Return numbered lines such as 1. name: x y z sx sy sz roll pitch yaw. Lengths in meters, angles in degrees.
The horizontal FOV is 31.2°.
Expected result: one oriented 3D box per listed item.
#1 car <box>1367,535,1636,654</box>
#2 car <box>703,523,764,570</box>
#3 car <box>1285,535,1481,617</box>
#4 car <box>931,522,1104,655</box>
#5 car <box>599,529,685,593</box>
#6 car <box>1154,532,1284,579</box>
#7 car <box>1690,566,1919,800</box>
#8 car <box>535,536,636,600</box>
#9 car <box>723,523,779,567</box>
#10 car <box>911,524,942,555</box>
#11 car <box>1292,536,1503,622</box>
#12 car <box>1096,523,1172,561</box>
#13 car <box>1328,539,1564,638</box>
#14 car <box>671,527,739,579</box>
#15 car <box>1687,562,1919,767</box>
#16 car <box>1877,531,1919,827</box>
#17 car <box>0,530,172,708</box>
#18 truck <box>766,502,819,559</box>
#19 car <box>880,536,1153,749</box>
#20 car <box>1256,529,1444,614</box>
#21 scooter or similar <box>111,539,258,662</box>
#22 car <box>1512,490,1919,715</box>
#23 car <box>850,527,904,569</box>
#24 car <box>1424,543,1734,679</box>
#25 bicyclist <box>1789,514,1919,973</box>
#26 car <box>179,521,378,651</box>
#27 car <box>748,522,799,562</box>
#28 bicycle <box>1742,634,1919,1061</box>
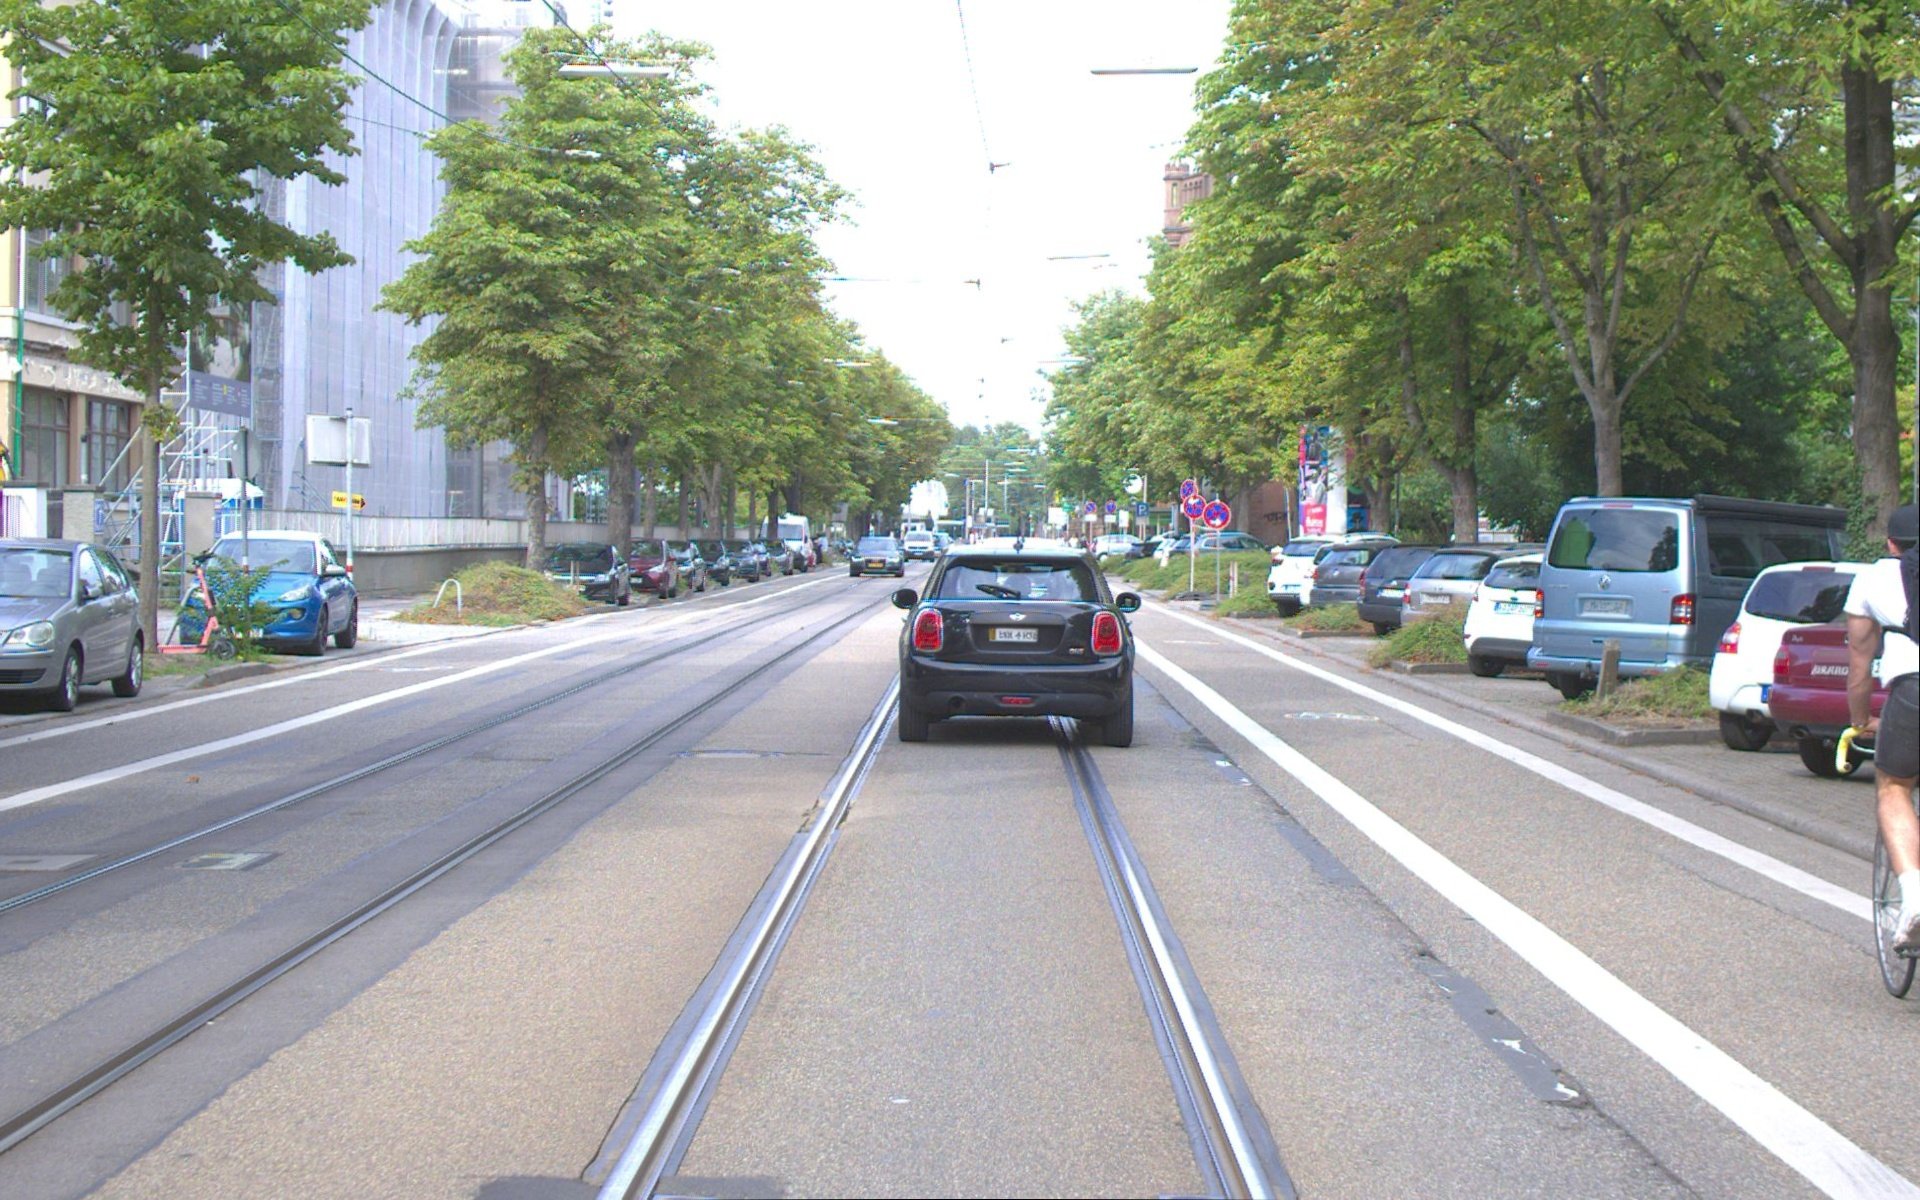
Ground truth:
1. car: 7.333 -0.071 46.397 3.729 1.517 1.639 1 1 -44
2. car: -7.661 -1.818 116.501 1.802 1.578 4.031 0 1 0
3. car: 7.761 -0.435 62.951 3.437 1.437 1.560 0 1 -38
4. car: 0.654 -0.173 42.088 1.793 1.465 4.001 3 1 -3
5. car: -8.004 -1.007 86.749 1.802 1.578 4.031 0 1 0
6. car: 8.402 -1.450 111.697 3.986 1.420 1.885 1 1 -2
7. car: 6.884 0.527 23.432 3.964 1.428 1.689 1 1 -42
8. car: -8.263 -0.728 76.205 1.802 1.369 4.031 0 1 0
9. car: -7.620 -2.032 125.539 1.802 1.578 4.031 0 1 0
10. car: -1.961 -3.558 201.363 1.802 1.817 4.485 0 1 0
11. car: 7.644 -0.363 59.944 3.525 1.437 1.623 0 1 -38
12. car: 9.545 -3.198 188.894 3.986 1.904 2.000 2 1 -2
13. car: 7.521 -0.172 53.024 3.729 1.453 1.639 1 1 -44
14. car: -7.874 -1.456 106.351 1.802 1.578 4.031 0 1 0
15. car: 7.374 0.465 26.421 3.706 1.428 1.688 1 1 -44
16. car: 7.276 0.474 20.371 4.098 1.662 1.688 1 1 -45
17. car: -8.286 0.119 30.443 1.693 1.422 3.868 2 1 0
18. truck: -7.283 -3.039 150.034 2.071 2.462 4.899 0 1 0
19. car: 0.346 0.261 25.959 1.793 1.418 4.001 2 1 -2
20. car: 7.481 -0.549 65.869 3.437 1.567 1.560 0 1 -38
21. scooter or similar: -8.607 0.000 38.184 1.444 1.339 0.700 0 1 2
22. car: 7.356 0.011 32.994 4.264 2.008 1.830 1 1 -44
23. car: -2.976 -1.896 123.789 1.834 1.443 4.554 1 1 0
24. car: 7.162 0.123 39.576 1.639 1.455 3.819 2 1 44
25. bicyclist: 3.281 0.451 11.510 0.657 1.458 1.179 2 1 -1
26. car: -8.372 -0.210 42.483 1.693 1.482 3.677 2 1 0
27. car: -7.417 -2.304 136.941 1.802 1.578 4.031 0 1 0
28. bicycle: 3.260 0.785 11.668 0.657 1.244 2.125 2 1 -1
